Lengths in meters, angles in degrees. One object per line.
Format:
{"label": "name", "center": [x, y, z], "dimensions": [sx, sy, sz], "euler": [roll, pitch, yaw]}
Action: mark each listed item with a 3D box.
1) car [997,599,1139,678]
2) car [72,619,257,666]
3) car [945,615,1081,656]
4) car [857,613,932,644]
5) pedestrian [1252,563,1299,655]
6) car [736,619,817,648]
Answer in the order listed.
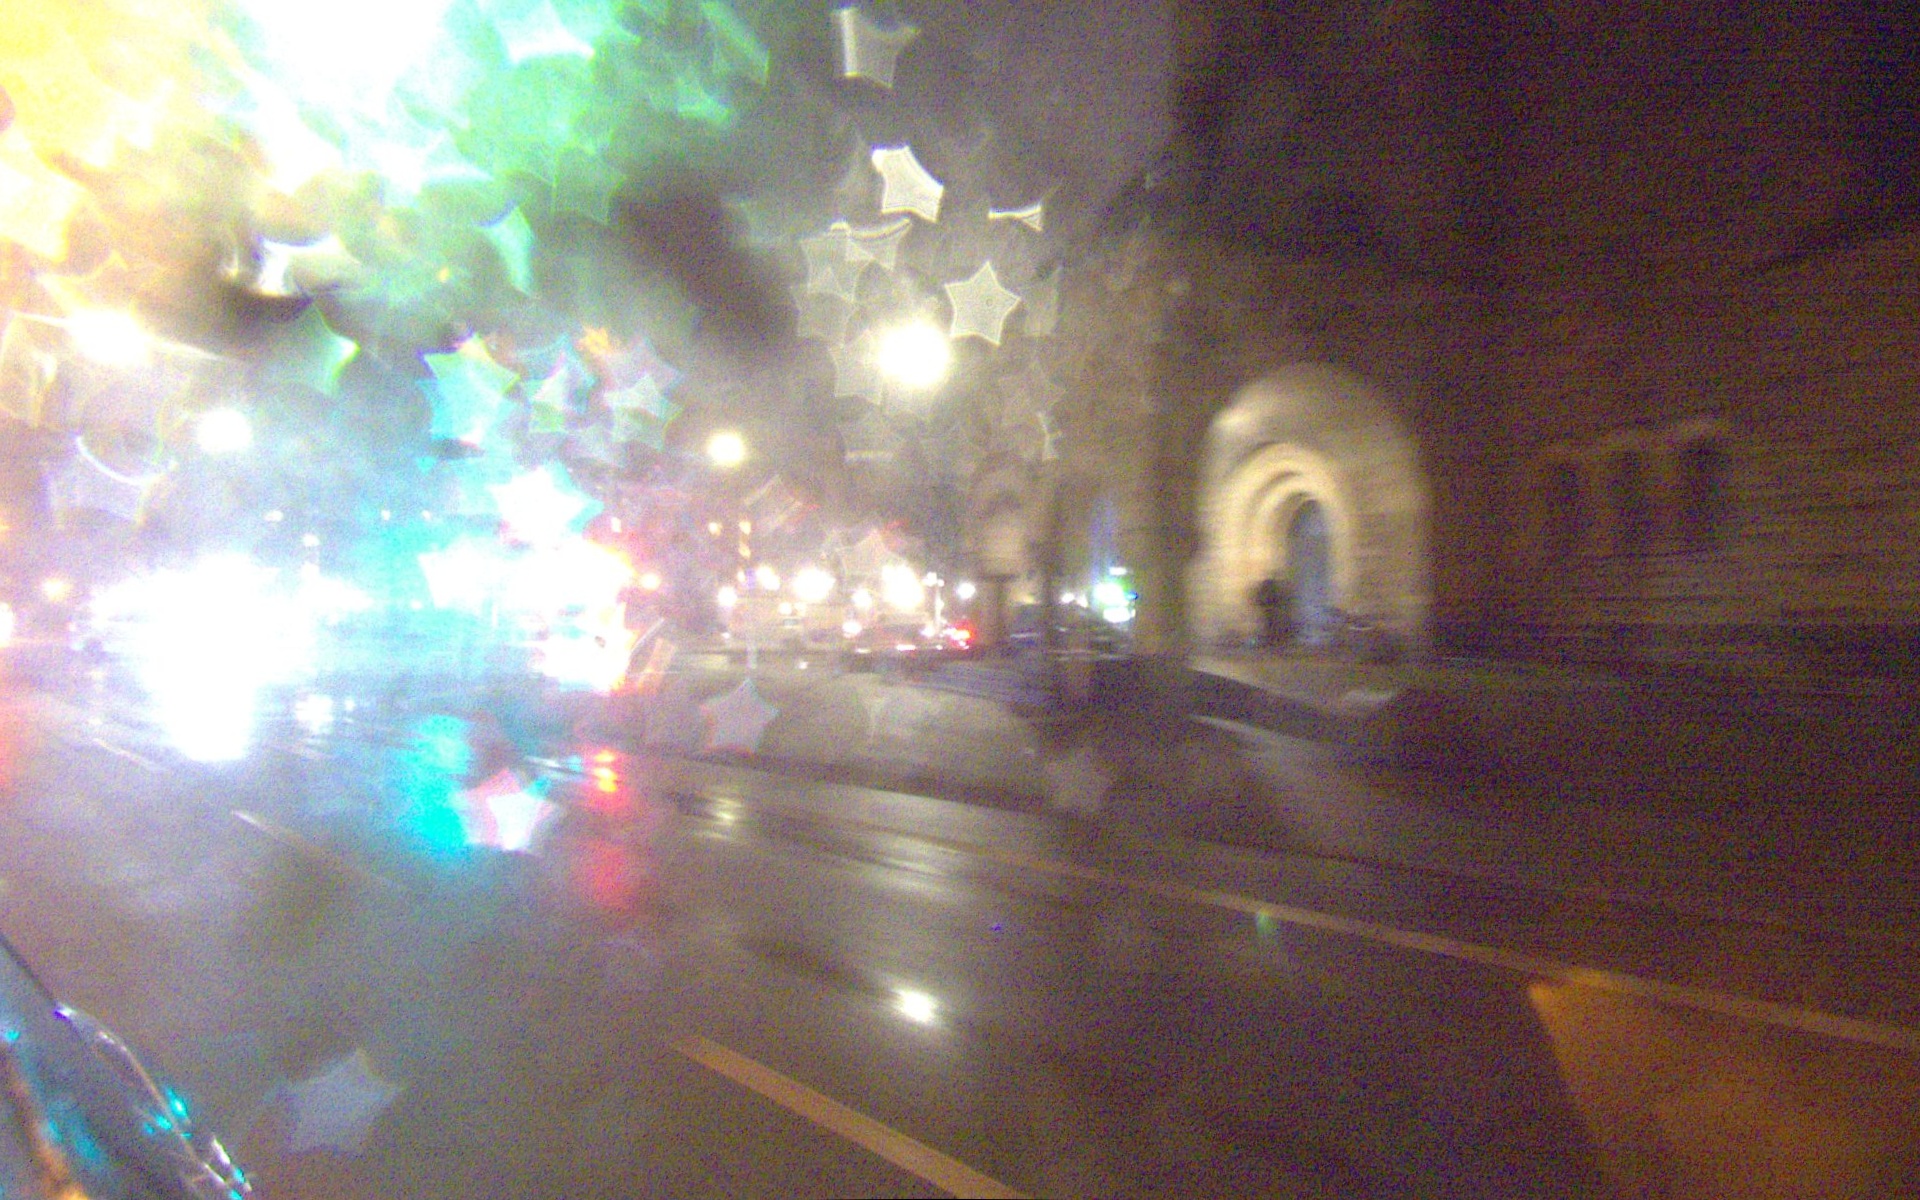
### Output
{"label": "car", "center": [2.540, 0.958, 24.730], "dimensions": [1.671, 1.741, 4.013], "euler": [2, -3, -24]}
{"label": "car", "center": [-25.709, 1.354, 32.742], "dimensions": [5.017, 1.436, 1.992], "euler": [0, -1, 13]}
{"label": "car", "center": [1.970, 1.319, 37.887], "dimensions": [4.648, 1.436, 2.006], "euler": [0, -2, -19]}
{"label": "car", "center": [-3.795, 1.650, 58.838], "dimensions": [3.930, 1.785, 2.006], "euler": [1, -1, -22]}
{"label": "pedestrian", "center": [5.921, 0.169, 19.050], "dimensions": [0.785, 1.688, 0.626], "euler": [-1, -1, 15]}
{"label": "car", "center": [-10.220, 1.854, 56.459], "dimensions": [4.147, 1.578, 1.856], "euler": [1, -2, -23]}
